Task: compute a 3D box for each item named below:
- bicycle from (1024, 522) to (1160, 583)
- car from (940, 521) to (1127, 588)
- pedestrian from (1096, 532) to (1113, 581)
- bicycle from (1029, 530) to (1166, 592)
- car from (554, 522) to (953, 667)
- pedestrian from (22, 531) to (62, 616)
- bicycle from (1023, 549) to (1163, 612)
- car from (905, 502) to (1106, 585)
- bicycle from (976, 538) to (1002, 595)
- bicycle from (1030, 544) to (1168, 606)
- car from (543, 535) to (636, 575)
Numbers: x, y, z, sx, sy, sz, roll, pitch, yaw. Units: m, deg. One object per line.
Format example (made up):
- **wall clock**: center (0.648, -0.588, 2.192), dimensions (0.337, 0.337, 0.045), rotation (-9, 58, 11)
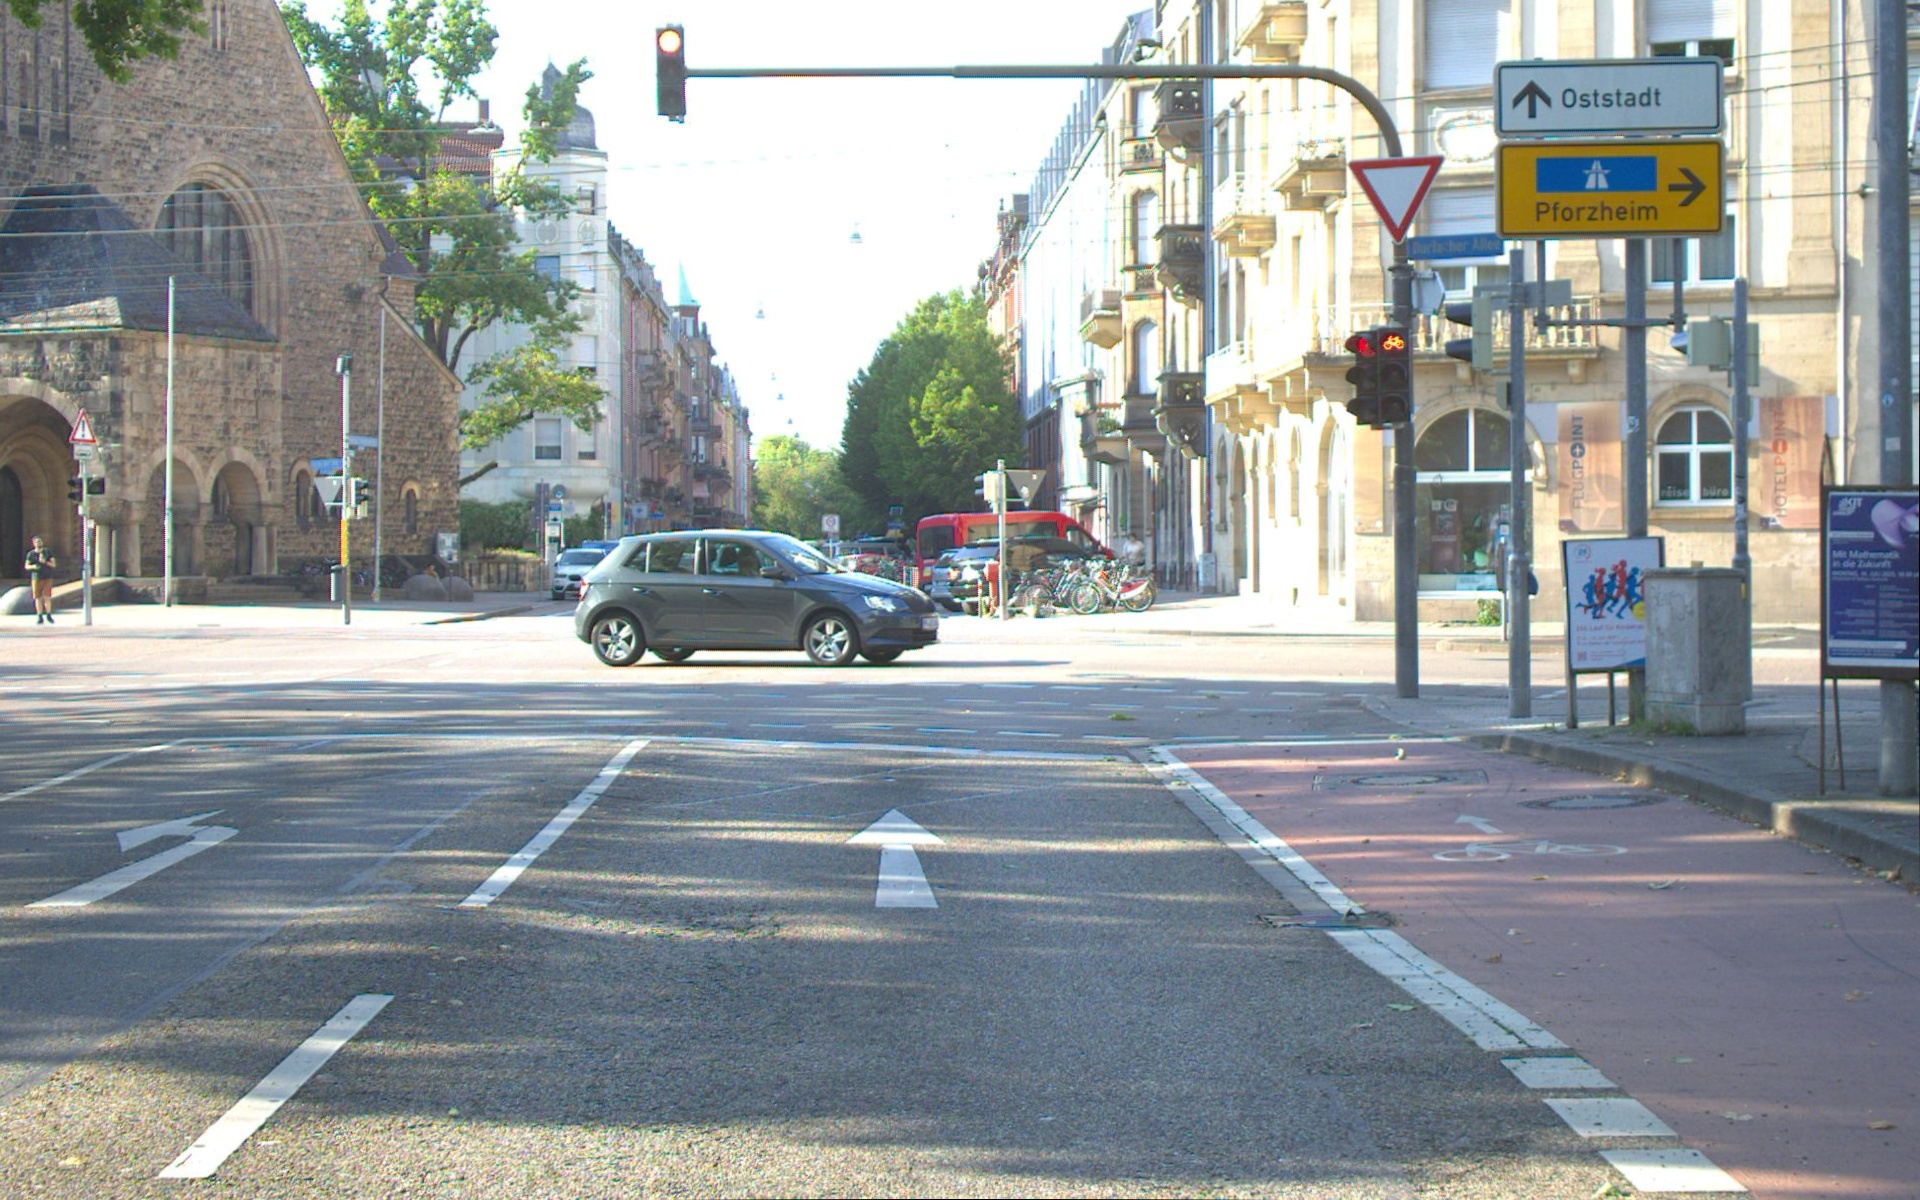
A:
- **bicycle**: center (2.804, -1.011, 72.971), dimensions (2.802, 1.199, 0.510), rotation (2, 0, -4)
- **car**: center (1.866, -1.157, 87.313), dimensions (4.416, 1.532, 1.875), rotation (2, 1, -33)
- **pedestrian**: center (3.875, -1.172, 92.197), dimensions (0.394, 1.285, 0.431), rotation (2, 0, 4)
- **bicycle**: center (2.889, -0.821, 72.389), dimensions (2.802, 1.199, 0.517), rotation (2, 0, -4)
- **car**: center (-2.225, -0.068, 37.157), dimensions (3.930, 1.392, 1.651), rotation (2, 1, 20)
- **pedestrian**: center (-19.656, -0.574, 73.611), dimensions (0.610, 1.784, 0.711), rotation (2, 0, 0)
- **bicycle**: center (2.745, -0.408, 70.861), dimensions (2.802, 1.199, 0.510), rotation (2, 0, -4)
- **car**: center (1.234, -1.500, 91.254), dimensions (4.987, 2.007, 2.167), rotation (2, 1, -37)
- **bicycle**: center (0.619, -0.718, 73.644), dimensions (0.508, 1.199, 2.092), rotation (2, 1, 1)
- **bicycle**: center (2.900, -0.523, 71.783), dimensions (2.802, 1.199, 0.517), rotation (2, 0, -4)
- **car**: center (-11.471, -1.389, 106.600), dimensions (1.595, 1.140, 3.381), rotation (2, 1, 17)
